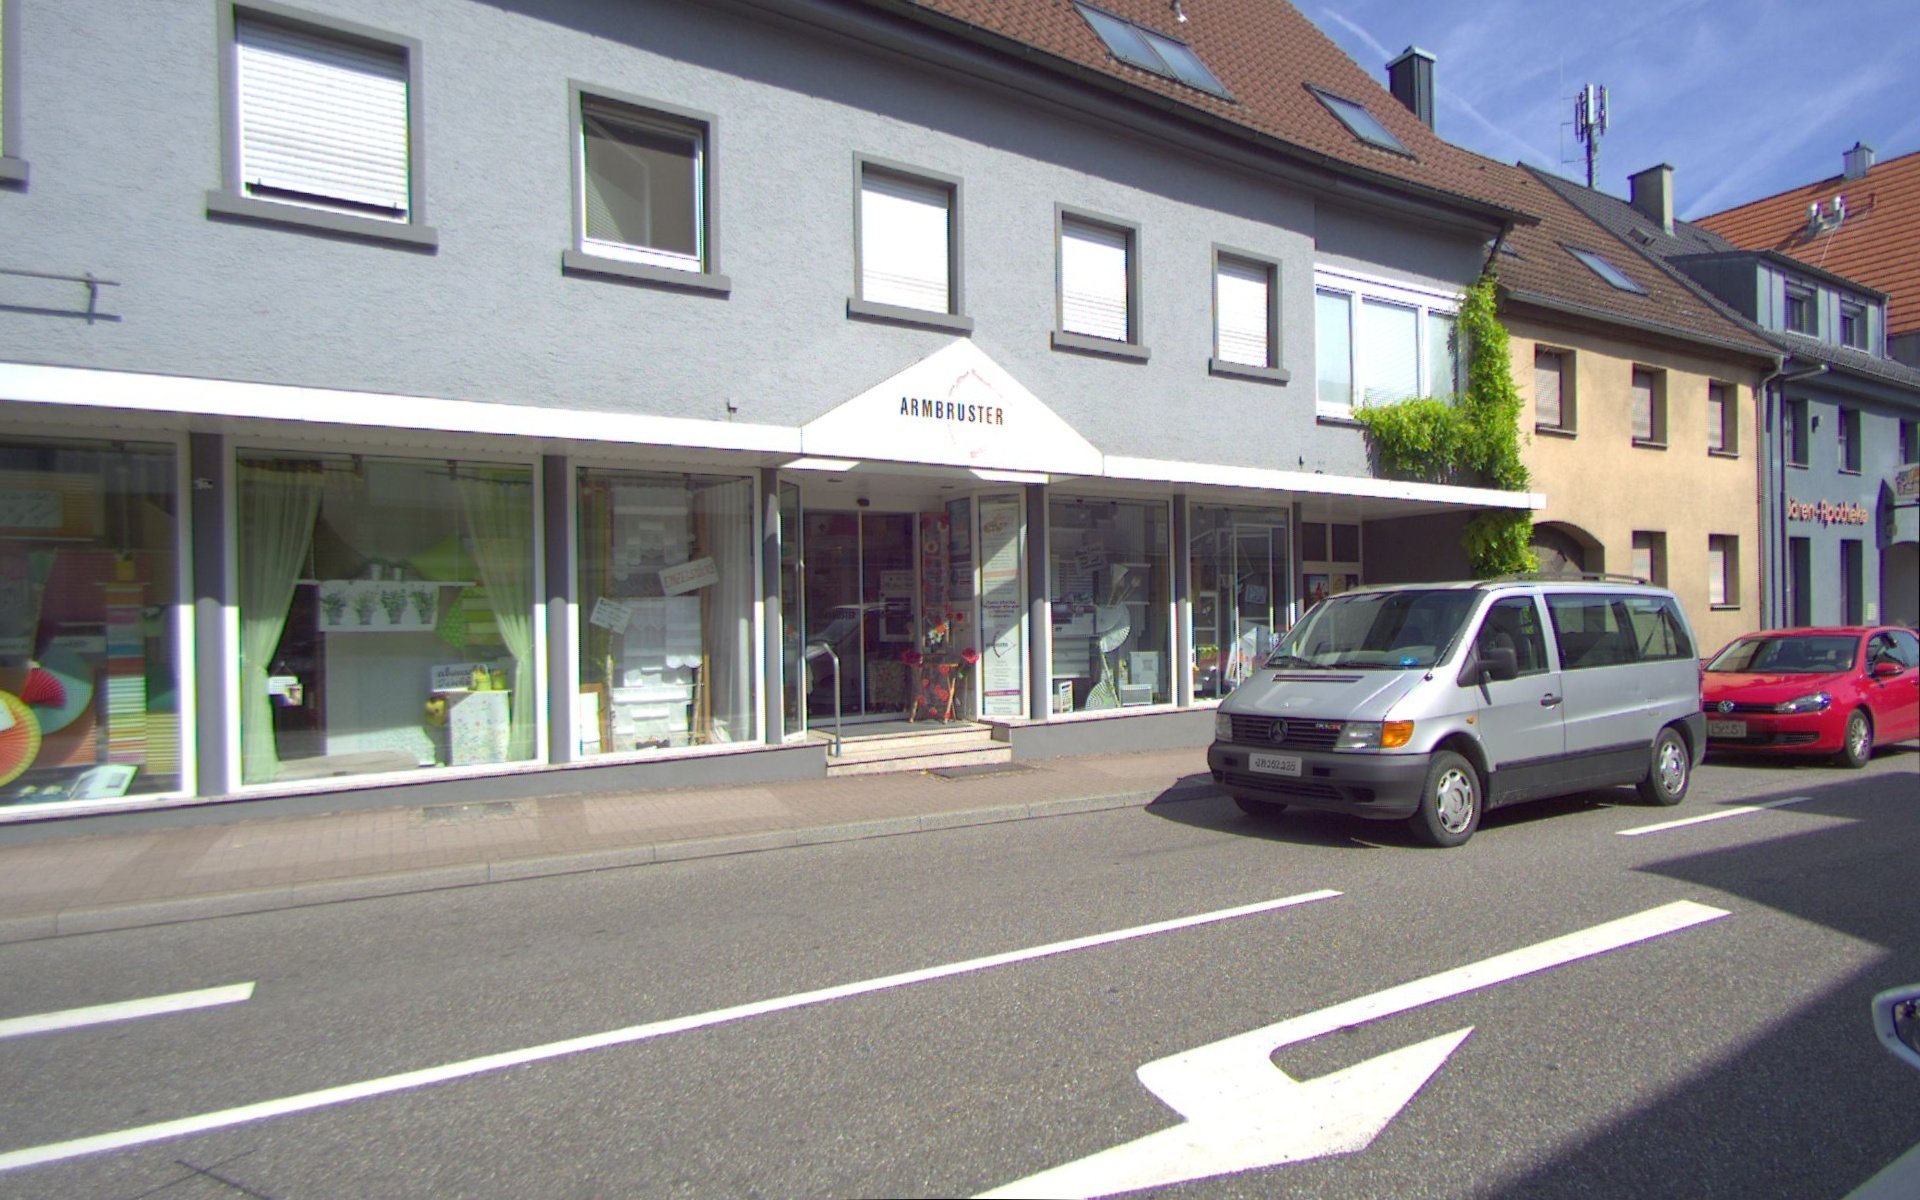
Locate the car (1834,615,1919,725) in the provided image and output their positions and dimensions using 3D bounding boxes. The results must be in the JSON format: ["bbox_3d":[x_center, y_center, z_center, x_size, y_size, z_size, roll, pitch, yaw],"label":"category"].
[{"bbox_3d":[15.157,1.008,15.224,3.971,1.540,1.622,1,-2,-29],"label":"car"}]

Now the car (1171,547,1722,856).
[{"bbox_3d":[4.073,0.690,8.230,4.499,1.915,1.874,1,-3,-31],"label":"car"}]

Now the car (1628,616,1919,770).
[{"bbox_3d":[9.770,0.965,11.667,4.028,1.512,1.751,1,-2,-30],"label":"car"}]
